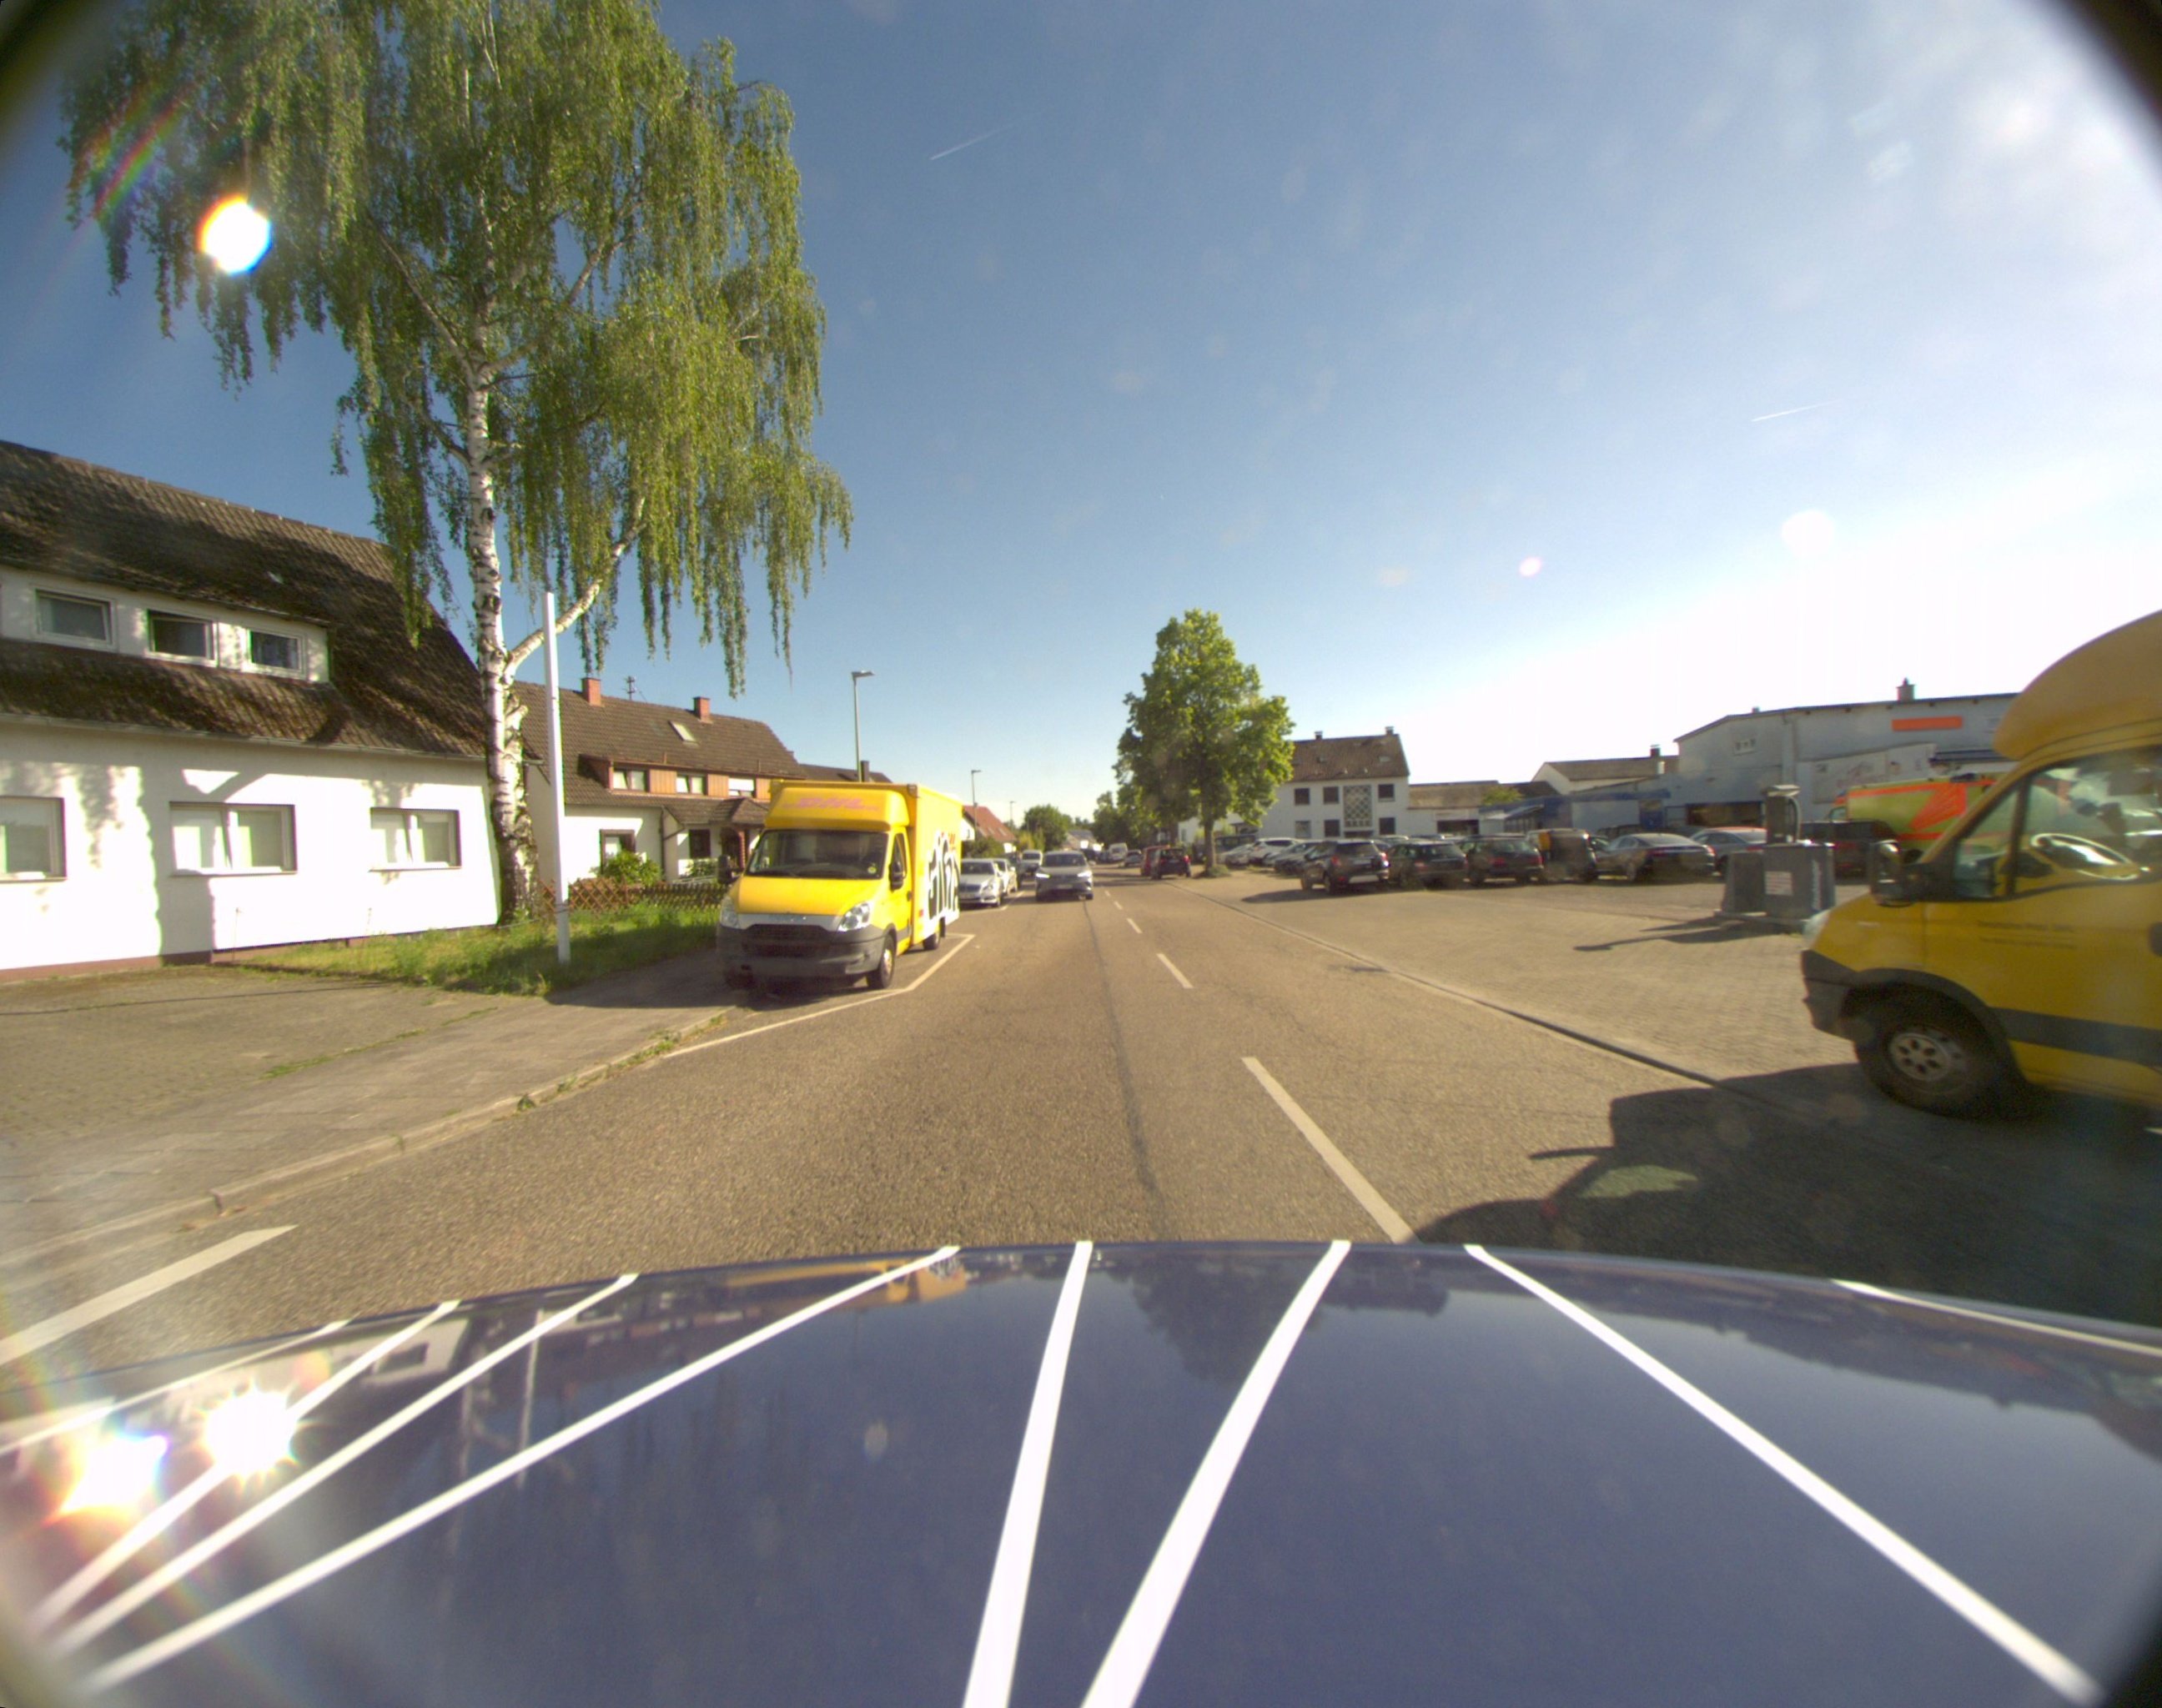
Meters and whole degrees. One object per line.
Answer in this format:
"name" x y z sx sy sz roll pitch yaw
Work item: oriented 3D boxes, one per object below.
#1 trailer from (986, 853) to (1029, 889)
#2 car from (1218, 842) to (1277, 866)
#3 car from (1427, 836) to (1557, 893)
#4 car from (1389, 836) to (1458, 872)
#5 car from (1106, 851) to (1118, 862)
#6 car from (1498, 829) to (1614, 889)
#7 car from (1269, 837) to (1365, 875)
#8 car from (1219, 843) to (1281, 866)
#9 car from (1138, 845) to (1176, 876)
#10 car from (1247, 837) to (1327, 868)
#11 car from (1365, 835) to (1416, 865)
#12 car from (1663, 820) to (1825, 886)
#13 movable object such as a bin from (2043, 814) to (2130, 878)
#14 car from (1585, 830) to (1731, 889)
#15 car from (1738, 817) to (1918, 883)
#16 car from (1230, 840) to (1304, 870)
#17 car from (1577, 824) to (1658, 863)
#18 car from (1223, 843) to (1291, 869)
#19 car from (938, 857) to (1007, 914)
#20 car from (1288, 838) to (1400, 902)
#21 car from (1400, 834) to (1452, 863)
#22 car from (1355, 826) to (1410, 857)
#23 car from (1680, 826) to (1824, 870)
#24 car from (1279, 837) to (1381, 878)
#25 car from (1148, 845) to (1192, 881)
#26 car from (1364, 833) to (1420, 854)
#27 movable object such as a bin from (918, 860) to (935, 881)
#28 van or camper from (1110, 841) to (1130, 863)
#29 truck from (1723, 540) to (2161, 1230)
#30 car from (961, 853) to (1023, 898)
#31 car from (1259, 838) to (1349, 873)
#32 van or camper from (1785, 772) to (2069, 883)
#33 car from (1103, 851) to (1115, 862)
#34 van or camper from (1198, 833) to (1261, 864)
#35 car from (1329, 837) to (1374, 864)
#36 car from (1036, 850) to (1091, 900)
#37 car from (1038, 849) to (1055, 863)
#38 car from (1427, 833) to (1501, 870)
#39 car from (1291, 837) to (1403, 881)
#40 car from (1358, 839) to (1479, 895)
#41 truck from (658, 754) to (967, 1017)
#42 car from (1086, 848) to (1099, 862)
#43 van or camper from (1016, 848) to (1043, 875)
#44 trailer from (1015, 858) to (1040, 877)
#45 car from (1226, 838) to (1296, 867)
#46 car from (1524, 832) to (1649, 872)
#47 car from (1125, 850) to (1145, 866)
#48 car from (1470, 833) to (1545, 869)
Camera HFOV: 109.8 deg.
"trailer" -3.422 0.780 36.053 1.631 1.529 3.198 -2 1 1
"car" 11.916 -0.031 54.519 3.815 1.533 1.548 -3 1 0
"car" 12.841 0.283 24.057 1.866 1.580 4.276 -2 1 2
"car" 15.592 -0.009 34.831 1.667 1.508 4.001 -2 1 6
"car" 4.477 0.383 109.364 1.613 1.427 4.313 -4 0 2
"car" 15.291 0.168 24.718 1.779 1.738 4.168 -2 -1 11
"car" 11.738 0.100 37.980 4.258 1.719 1.766 -2 1 5
"car" 12.524 0.035 56.618 4.258 1.533 1.766 -3 1 5
"car" 4.694 0.374 47.382 1.808 1.742 4.341 -4 1 0
"car" 12.302 -0.102 45.470 4.259 1.719 1.765 -2 1 0
"car" 18.265 -0.253 45.014 1.667 1.609 4.001 -2 1 6
"car" 19.720 -0.012 22.868 1.779 1.738 4.168 -2 -1 11
"movable object such as a bin" 24.491 -0.199 18.529 0.731 1.480 1.048 -2 1 7
"car" 17.159 0.171 22.870 1.779 1.536 4.168 -2 -1 11
"car" 22.041 -0.077 22.694 1.779 1.738 4.168 -2 -1 11
"car" 11.652 0.058 47.764 4.258 1.719 1.766 -2 1 5
"car" 24.697 -0.480 35.158 1.666 1.644 4.003 -2 1 13
"car" 12.120 0.126 52.467 4.260 1.576 1.765 -3 0 -1
"car" -3.362 0.919 24.297 1.789 1.533 4.535 -2 0 -4
"car" 8.199 0.450 24.136 1.866 1.704 4.275 -5 1 -1
"car" 20.442 -0.324 45.110 1.667 1.555 3.717 -2 1 6
"car" 15.960 -0.654 40.408 1.667 1.508 4.001 -2 1 6
"car" 26.415 -0.231 30.041 3.994 1.543 1.670 -2 1 8
"car" 11.651 0.151 35.757 4.258 1.719 1.766 -2 1 5
"car" 4.794 0.444 41.352 1.678 1.761 4.554 -4 1 -1
"car" 24.585 -0.830 60.127 3.811 1.533 1.549 -2 1 12
"movable object such as a bin" -8.090 0.880 39.788 0.524 1.047 0.754 -1 1 25
"van or camper" 4.902 -0.229 96.519 2.128 2.475 5.556 -4 -1 1
"truck" 5.865 0.102 1.744 2.409 2.966 7.243 -4 1 -1
"car" -3.409 0.797 29.728 1.678 1.533 4.043 -3 0 3
"car" 11.804 0.082 40.457 4.259 1.719 1.766 -2 1 2
"van or camper" 24.256 -0.705 22.337 2.168 2.699 6.273 -2 1 10
"car" 4.312 0.367 116.358 1.697 1.557 3.907 -5 0 2
"van or camper" 12.312 -0.432 62.997 4.900 2.307 2.245 -2 1 12
"car" 16.443 -0.255 46.359 1.667 1.508 4.001 -2 1 6
"car" -0.611 0.695 27.044 1.777 1.624 3.703 -2 0 -1
"car" -4.372 0.231 97.520 1.780 1.649 4.303 -3 0 1
"car" 17.580 -0.135 35.062 1.667 1.555 4.001 -2 1 6
"car" 11.544 0.212 33.193 4.258 1.719 1.766 -2 1 5
"car" 10.600 0.357 24.245 1.866 1.580 4.275 -2 1 -1
"truck" -3.498 0.312 11.941 2.409 2.920 7.014 0 1 0
"car" 1.718 0.079 113.086 1.899 2.020 4.817 0 1 0
"van or camper" -3.855 0.517 57.633 1.723 1.880 4.178 -3 1 -1
"trailer" -3.706 0.904 52.788 1.632 1.210 3.143 -2 0 -3
"car" 11.845 -0.131 50.168 4.258 1.742 1.766 -2 1 3
"car" 20.908 -0.079 31.593 3.993 1.442 1.670 -2 2 13
"car" 5.268 0.390 74.319 1.691 1.427 4.209 -4 0 2
"car" 20.284 -0.152 36.306 1.667 1.555 3.850 -2 1 6
